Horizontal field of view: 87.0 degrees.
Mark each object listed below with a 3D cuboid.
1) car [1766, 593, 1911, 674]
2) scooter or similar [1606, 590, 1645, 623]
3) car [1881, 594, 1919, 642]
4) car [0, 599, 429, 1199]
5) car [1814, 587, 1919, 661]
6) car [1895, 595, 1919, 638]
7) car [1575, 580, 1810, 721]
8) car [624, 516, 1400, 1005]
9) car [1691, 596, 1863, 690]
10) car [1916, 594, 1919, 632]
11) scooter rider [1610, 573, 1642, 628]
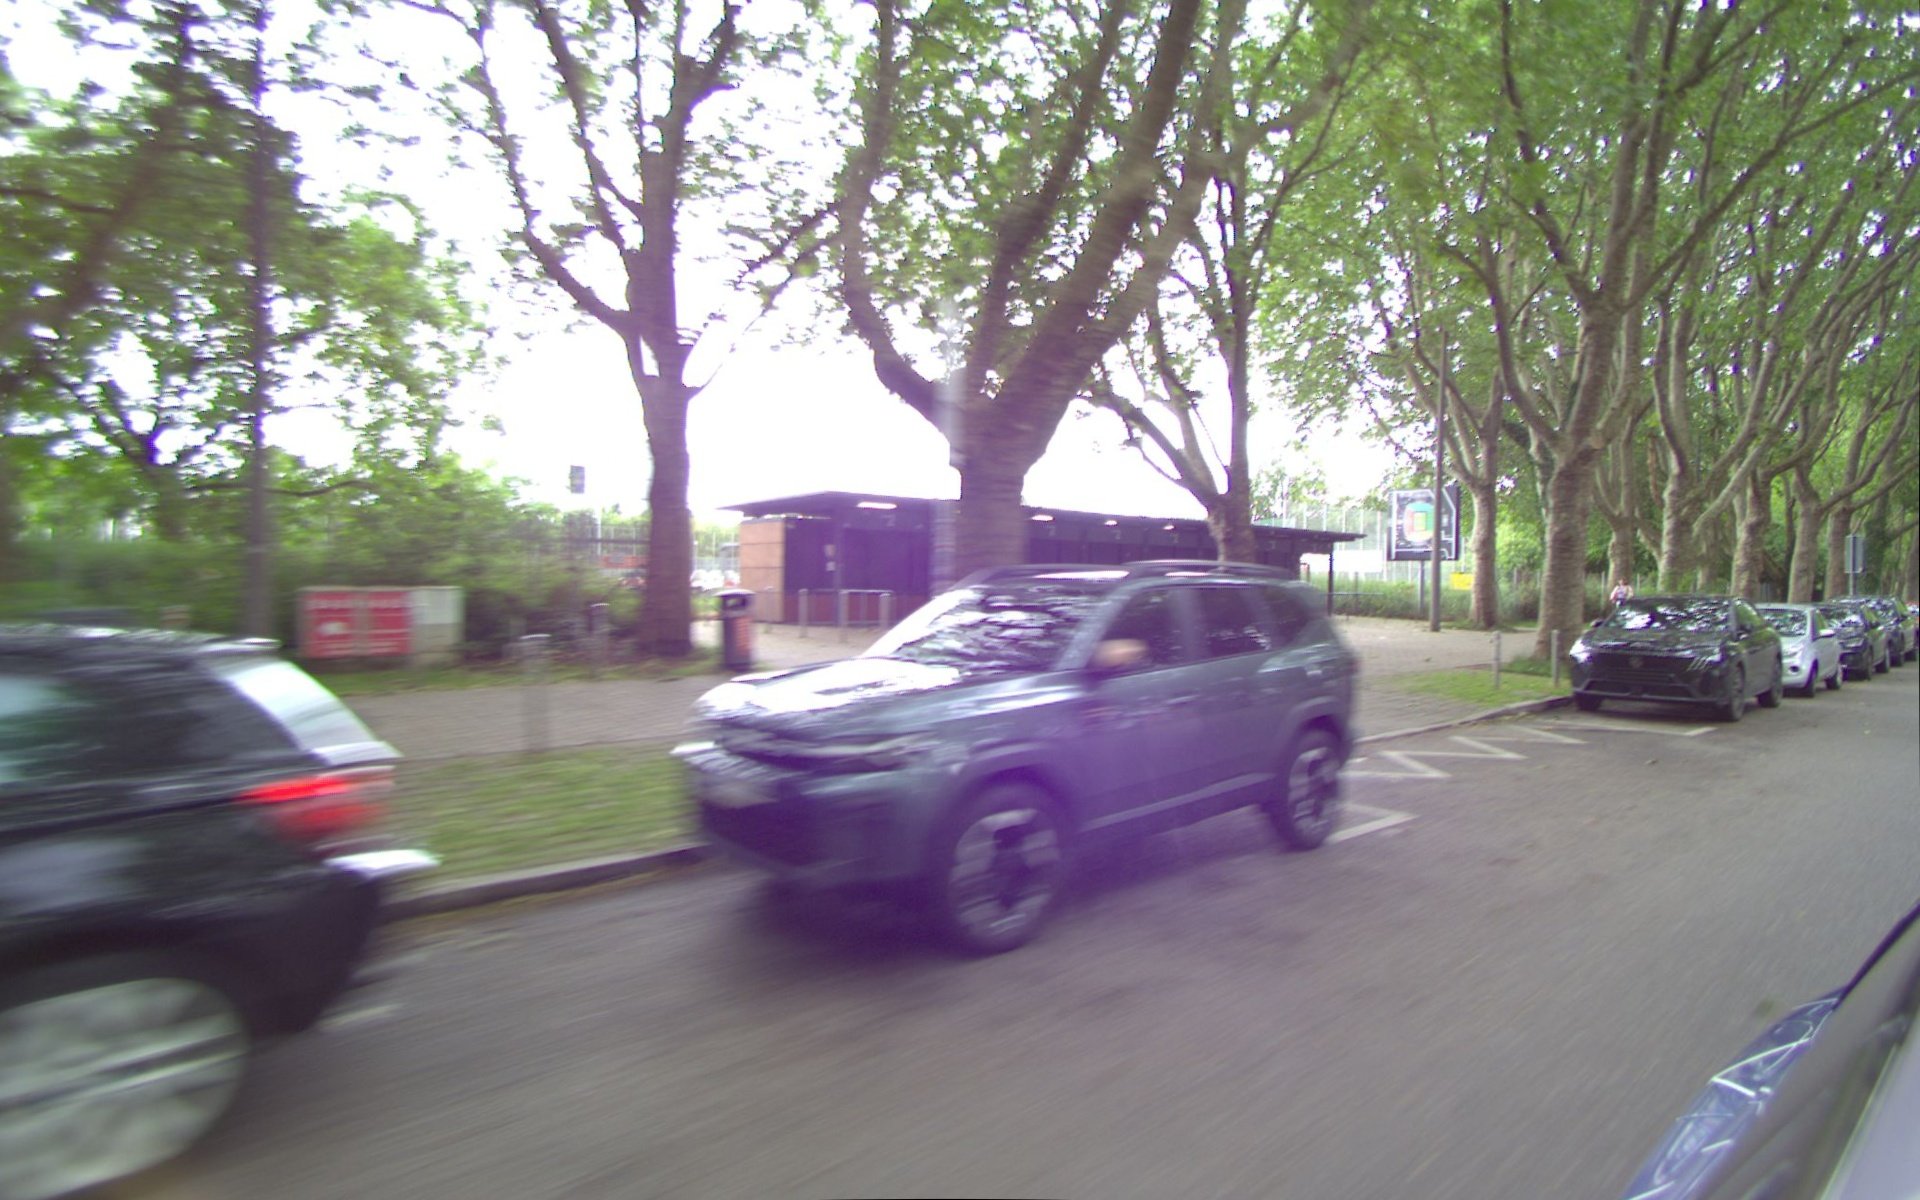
[{"bbox_3d":[18.313,0.626,21.037,4.277,1.528,1.671,0,-1,-41],"label":"car"},{"bbox_3d":[22.619,0.211,34.399,1.441,1.050,0.682,0,3,-41],"label":"scooter or similar"},{"bbox_3d":[30.916,0.540,32.507,4.553,1.457,1.717,0,-1,-45],"label":"car"},{"bbox_3d":[-3.685,0.722,2.106,4.288,1.433,1.709,0,0,-43],"label":"car"},{"bbox_3d":[22.120,0.526,24.327,4.361,1.640,1.758,0,-1,-41],"label":"car"},{"bbox_3d":[34.789,0.549,35.982,4.007,1.489,1.733,0,-1,-40],"label":"car"},{"bbox_3d":[10.528,0.587,14.406,4.558,1.694,1.780,0,1,-42],"label":"car"},{"bbox_3d":[0.634,0.561,5.747,4.552,1.720,1.709,0,0,-42],"label":"car"},{"bbox_3d":[14.201,0.681,17.537,3.644,1.460,1.619,0,-1,-40],"label":"car"},{"bbox_3d":[38.421,0.513,39.130,4.051,1.456,1.738,0,1,-41],"label":"car"},{"bbox_3d":[22.630,0.001,34.392,0.577,1.822,0.678,1,2,-40],"label":"scooter rider"}]
